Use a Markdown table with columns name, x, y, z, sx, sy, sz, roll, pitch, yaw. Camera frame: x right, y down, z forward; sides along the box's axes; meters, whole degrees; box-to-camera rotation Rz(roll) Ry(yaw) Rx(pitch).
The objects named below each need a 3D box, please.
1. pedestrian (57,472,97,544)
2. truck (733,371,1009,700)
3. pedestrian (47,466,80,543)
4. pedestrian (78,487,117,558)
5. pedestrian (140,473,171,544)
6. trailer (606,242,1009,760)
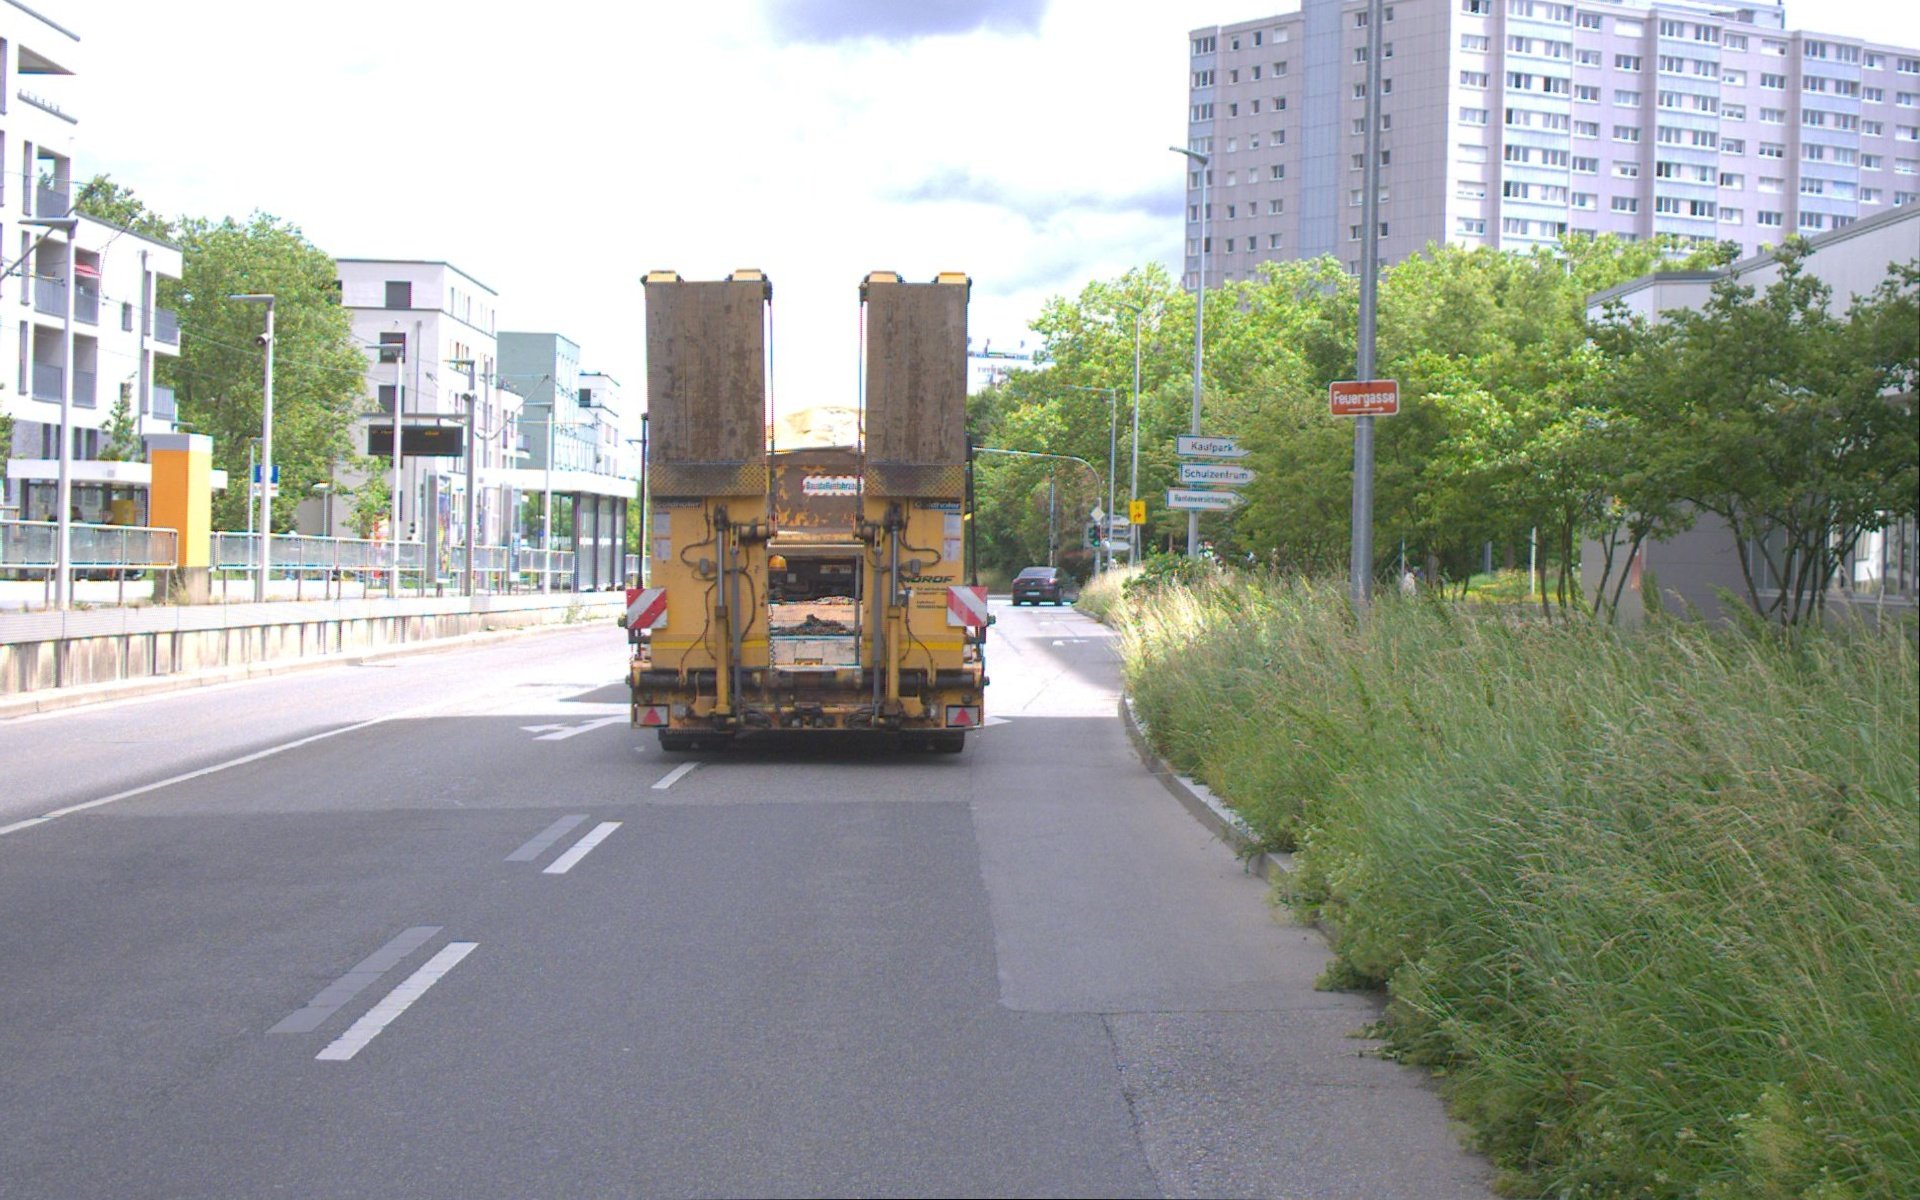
| name | x | y | z | sx | sy | sz | roll | pitch | yaw |
| --- | --- | --- | --- | --- | --- | --- | --- | --- | --- |
| pedestrian | -19.862 | -2.072 | 77.338 | 0.488 | 1.591 | 0.676 | 2 | 0 | 44 |
| truck | -0.876 | -0.691 | 39.376 | 2.753 | 3.302 | 8.351 | 1 | 0 | 1 |
| pedestrian | -20.274 | -2.156 | 77.732 | 0.487 | 1.719 | 0.677 | 1 | 0 | -33 |
| pedestrian | -19.714 | -1.763 | 78.550 | 0.488 | 1.591 | 0.676 | 1 | 0 | 36 |
| pedestrian | -20.342 | -2.311 | 86.963 | 0.561 | 1.760 | 0.677 | 1 | 0 | 3 |
| trailer | -0.992 | -0.725 | 29.571 | 2.729 | 3.547 | 11.253 | 1 | 0 | 1 |
